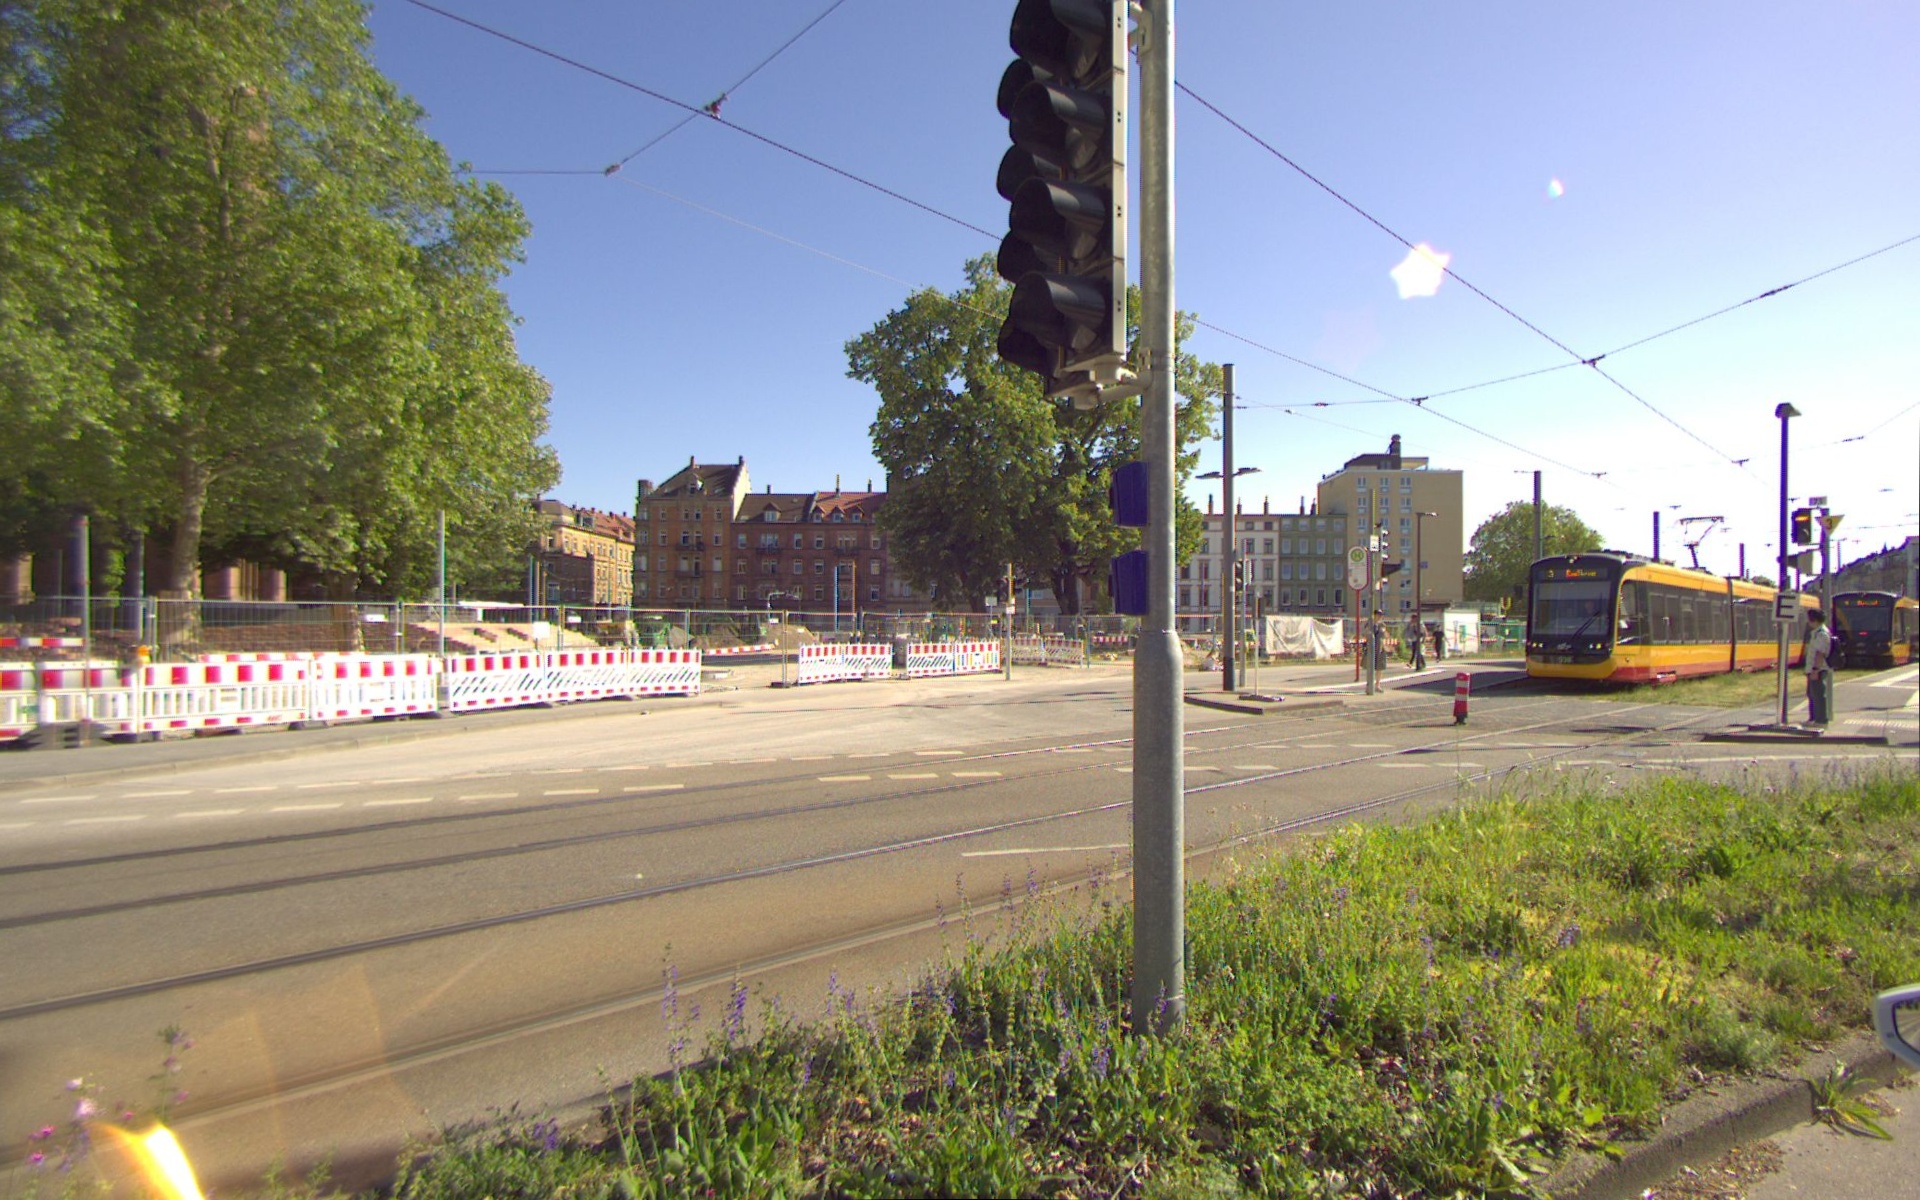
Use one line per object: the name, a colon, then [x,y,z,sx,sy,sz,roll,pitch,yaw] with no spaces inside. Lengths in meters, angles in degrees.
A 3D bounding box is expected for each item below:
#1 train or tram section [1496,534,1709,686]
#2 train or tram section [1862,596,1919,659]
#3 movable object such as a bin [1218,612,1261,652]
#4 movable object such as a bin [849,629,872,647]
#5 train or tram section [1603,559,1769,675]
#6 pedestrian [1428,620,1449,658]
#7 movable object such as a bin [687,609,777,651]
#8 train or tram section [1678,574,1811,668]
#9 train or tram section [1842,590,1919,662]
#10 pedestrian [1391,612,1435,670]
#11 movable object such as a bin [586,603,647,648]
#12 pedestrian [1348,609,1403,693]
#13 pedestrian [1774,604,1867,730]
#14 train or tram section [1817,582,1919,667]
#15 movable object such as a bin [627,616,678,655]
train or tram section: [18.285,0.387,28.170,10.410,3.554,2.790,2,-2,-45]
train or tram section: [57.696,1.676,61.576,10.471,3.554,2.843,2,-1,-44]
movable object such as a bin: [21.023,2.370,75.712,1.798,2.833,3.997,2,-1,-5]
movable object such as a bin: [-9.598,3.667,96.960,1.716,1.702,3.802,0,-1,2]
train or tram section: [25.811,0.653,35.418,10.536,3.554,2.790,2,-1,-43]
pedestrian: [23.110,1.871,48.486,0.795,1.791,0.661,2,-2,-44]
movable object such as a bin: [-16.368,2.143,72.343,5.967,2.795,1.894,2,-1,-2]
train or tram section: [33.633,0.918,42.847,11.131,3.554,2.790,2,-1,-43]
train or tram section: [50.188,1.435,54.344,10.472,3.554,2.843,2,-1,-44]
pedestrian: [14.311,1.286,31.745,0.958,1.791,0.861,1,-1,-19]
movable object such as a bin: [-25.989,1.927,76.181,3.060,3.215,5.244,2,-1,-5]
pedestrian: [9.604,1.161,23.243,0.751,1.875,0.899,-1,1,-15]
pedestrian: [13.358,1.020,15.626,1.003,1.856,0.758,1,-1,37]
train or tram section: [42.616,1.162,46.987,10.472,3.554,2.843,2,-1,-44]
movable object such as a bin: [-19.733,2.271,64.689,1.857,2.377,4.230,2,-1,1]
